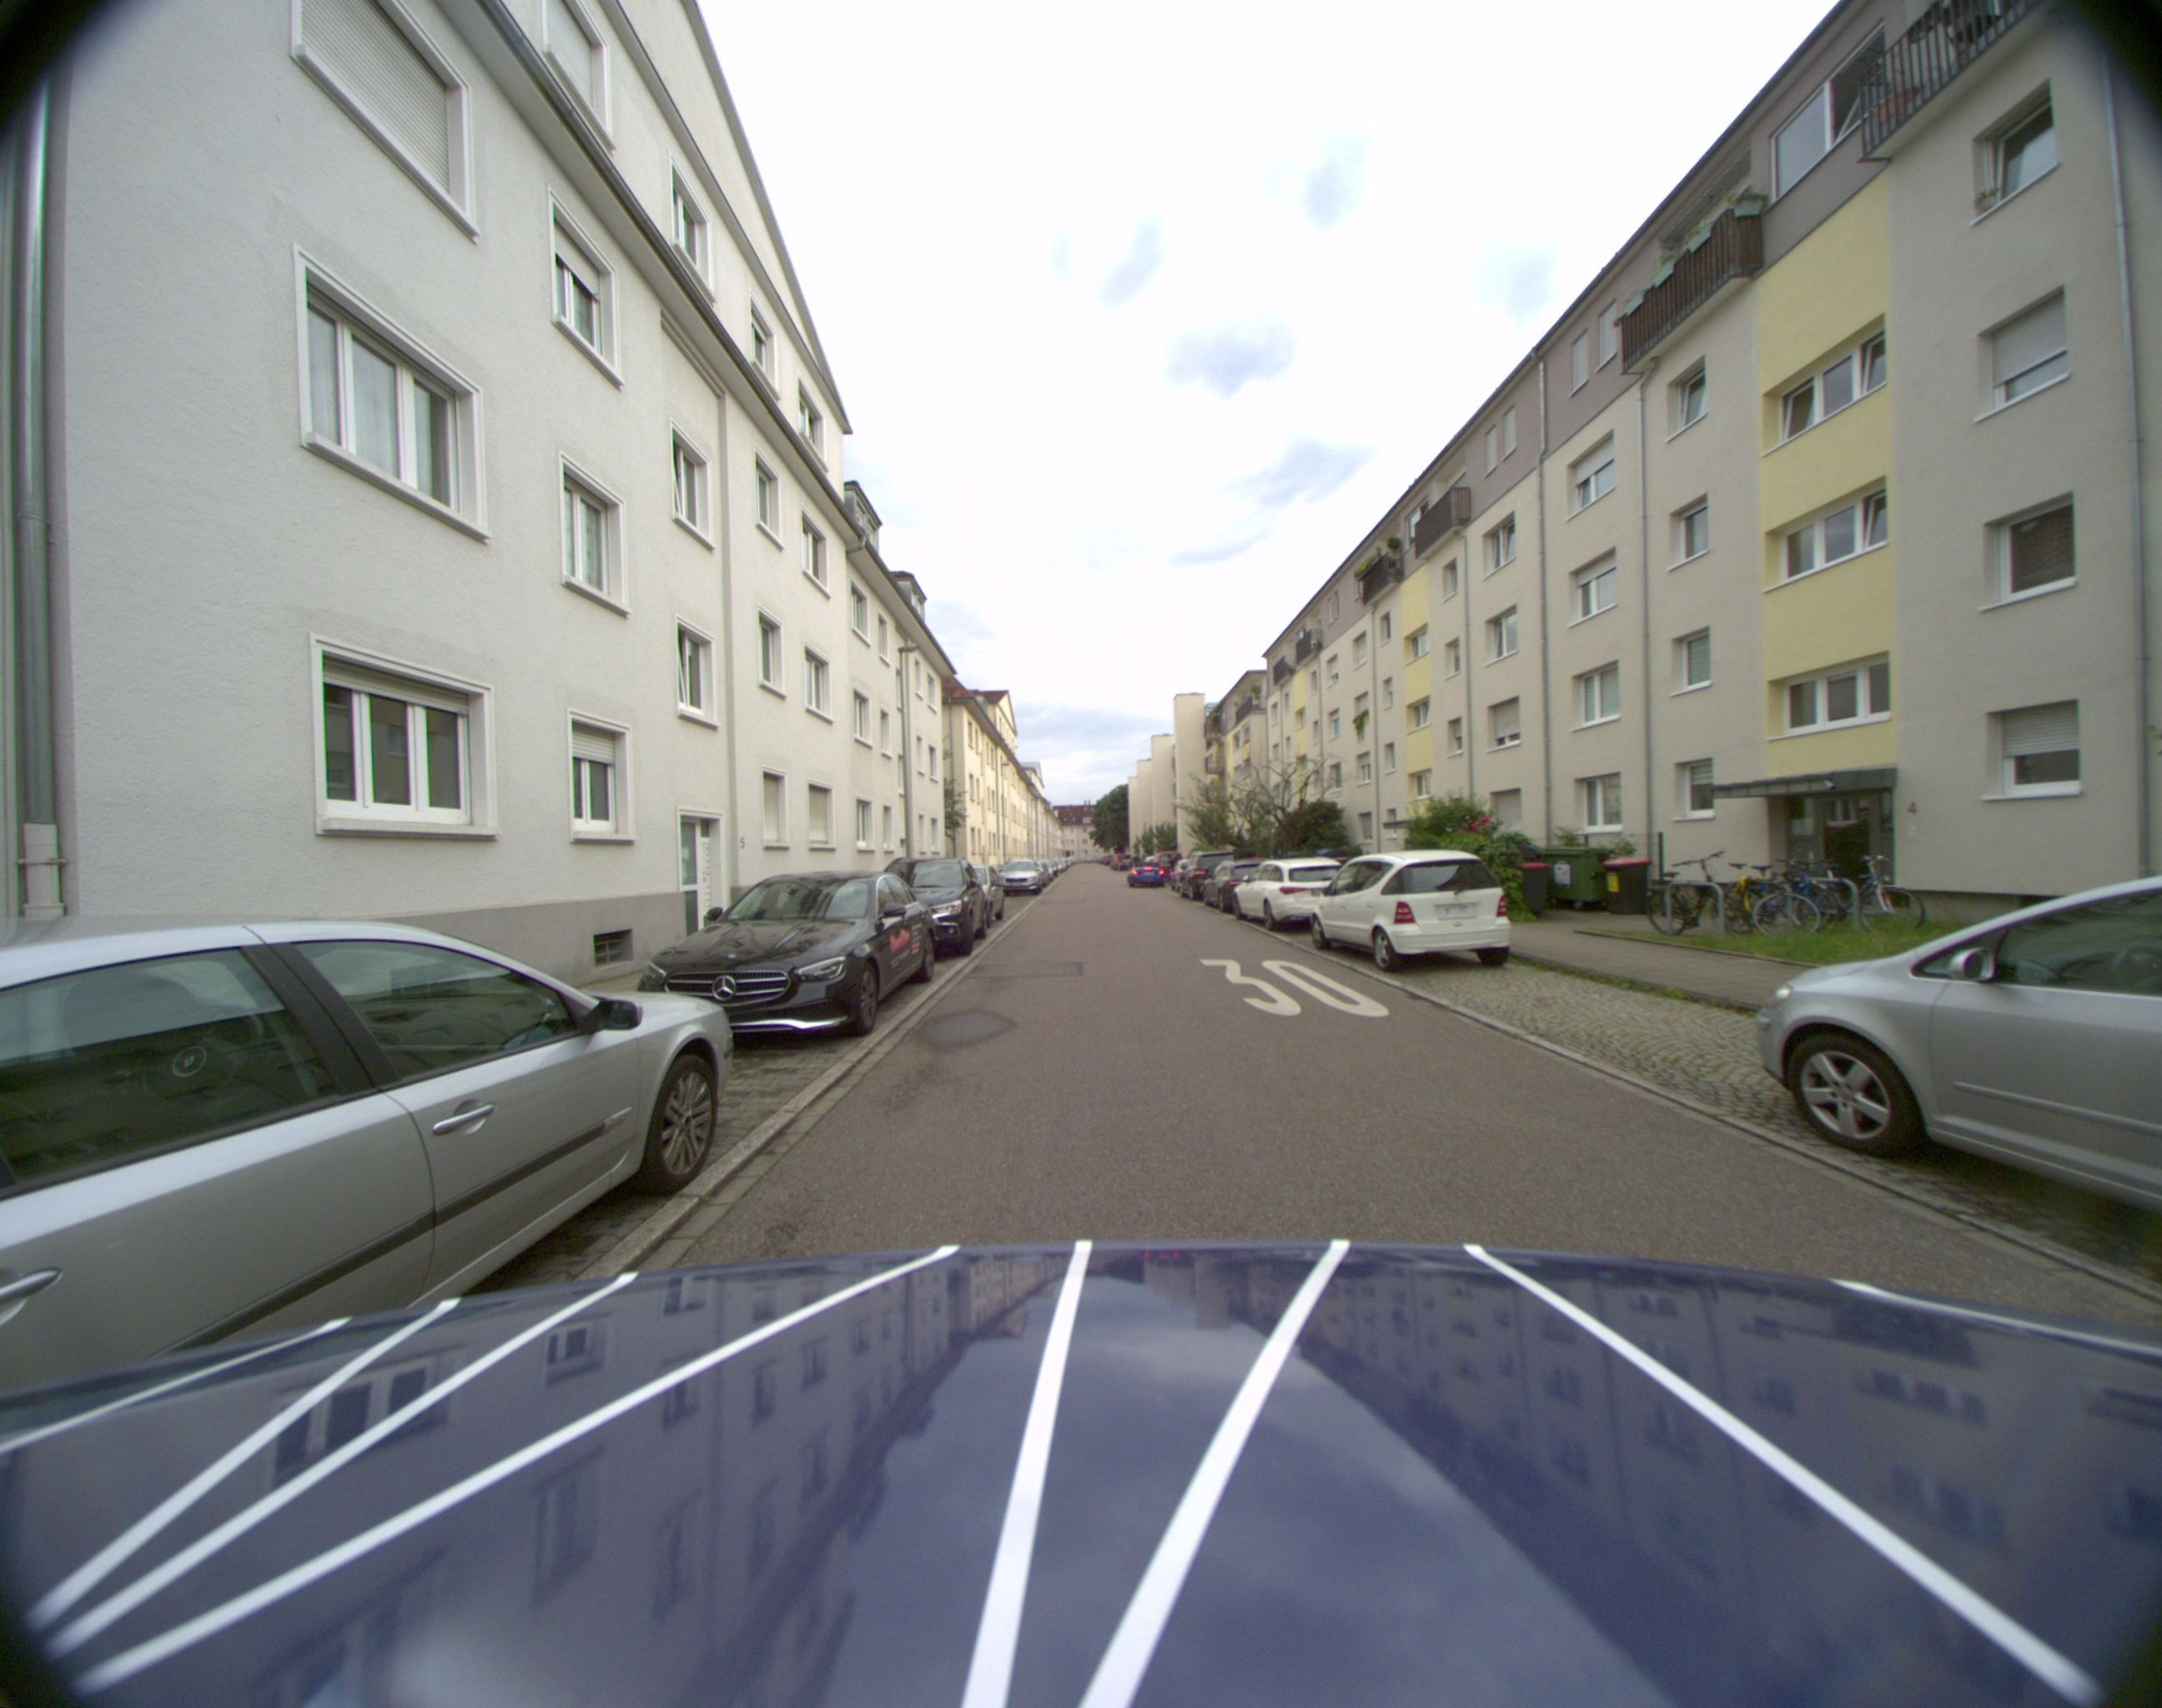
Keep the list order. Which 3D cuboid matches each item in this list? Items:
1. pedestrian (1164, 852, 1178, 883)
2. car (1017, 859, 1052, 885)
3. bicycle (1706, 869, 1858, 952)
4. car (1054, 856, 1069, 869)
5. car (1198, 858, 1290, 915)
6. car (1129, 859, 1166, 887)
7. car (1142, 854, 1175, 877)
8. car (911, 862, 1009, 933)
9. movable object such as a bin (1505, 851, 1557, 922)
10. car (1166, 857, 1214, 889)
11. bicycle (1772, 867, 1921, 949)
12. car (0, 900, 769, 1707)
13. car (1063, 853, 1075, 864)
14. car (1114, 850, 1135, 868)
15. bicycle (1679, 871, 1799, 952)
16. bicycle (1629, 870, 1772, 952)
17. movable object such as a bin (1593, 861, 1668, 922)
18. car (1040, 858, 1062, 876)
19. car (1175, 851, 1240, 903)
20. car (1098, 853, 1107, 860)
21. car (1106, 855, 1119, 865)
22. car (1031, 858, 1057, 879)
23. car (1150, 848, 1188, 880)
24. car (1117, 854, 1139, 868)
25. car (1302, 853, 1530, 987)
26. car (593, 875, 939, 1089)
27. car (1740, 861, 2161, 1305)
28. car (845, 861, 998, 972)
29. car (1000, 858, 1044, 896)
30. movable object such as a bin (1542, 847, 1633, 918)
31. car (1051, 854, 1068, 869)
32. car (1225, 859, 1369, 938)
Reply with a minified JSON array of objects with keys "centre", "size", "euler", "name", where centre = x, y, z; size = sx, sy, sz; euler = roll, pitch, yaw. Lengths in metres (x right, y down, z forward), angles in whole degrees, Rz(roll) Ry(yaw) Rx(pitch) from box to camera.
[{"centre":[4.811,0.719,40.796],"size":[0.603,1.657,0.622],"euler":[-2,0,-2],"name":"pedestrian"},{"centre":[-2.598,0.985,43.132],"size":[1.737,1.418,4.217],"euler":[-1,0,0],"name":"car"},{"centre":[9.686,0.745,10.594],"size":[0.479,1.018,1.755],"euler":[-2,0,0],"name":"bicycle"},{"centre":[-2.372,0.985,91.052],"size":[1.737,1.443,4.217],"euler":[-1,0,-1],"name":"car"},{"centre":[4.651,0.872,22.288],"size":[1.729,1.445,4.483],"euler":[-1,0,0],"name":"car"},{"centre":[3.468,0.984,40.345],"size":[1.679,1.307,3.908],"euler":[-2,1,1],"name":"car"},{"centre":[5.250,0.765,51.869],"size":[1.707,1.436,3.542],"euler":[-2,-1,-2],"name":"car"},{"centre":[-2.818,0.966,18.437],"size":[1.737,1.478,3.756],"euler":[-1,0,0],"name":"car"},{"centre":[9.065,0.638,15.323],"size":[0.659,1.360,0.587],"euler":[-2,2,-4],"name":"movable object such as a bin"},{"centre":[4.976,0.849,35.128],"size":[1.575,1.388,3.542],"euler":[-2,-1,-2],"name":"car"},{"centre":[10.572,0.711,10.565],"size":[0.421,1.018,1.559],"euler":[-2,0,-3],"name":"bicycle"},{"centre":[-2.702,1.008,2.291],"size":[1.737,1.454,4.430],"euler":[-1,0,-1],"name":"car"},{"centre":[-1.877,0.749,120.084],"size":[1.737,1.670,3.591],"euler":[-1,0,-1],"name":"car"},{"centre":[5.236,0.587,92.074],"size":[2.188,2.019,4.422],"euler":[-2,0,-2],"name":"car"},{"centre":[9.190,0.765,10.679],"size":[0.357,1.018,1.497],"euler":[-2,0,0],"name":"bicycle"},{"centre":[8.710,0.760,10.785],"size":[0.489,1.018,1.878],"euler":[-2,0,0],"name":"bicycle"},{"centre":[10.658,0.717,14.764],"size":[0.871,1.103,0.787],"euler":[-2,2,-4],"name":"movable object such as a bin"},{"centre":[-2.427,1.021,62.084],"size":[1.737,1.363,4.217],"euler":[-1,0,-1],"name":"car"},{"centre":[4.618,0.816,28.318],"size":[1.575,1.769,4.452],"euler":[-2,-1,-1],"name":"car"},{"centre":[5.025,0.683,180.249],"size":[1.745,1.534,3.636],"euler":[-2,0,-6],"name":"car"},{"centre":[5.446,1.020,131.225],"size":[1.745,1.534,3.636],"euler":[-2,0,-6],"name":"car"},{"centre":[-2.612,1.003,54.375],"size":[1.737,1.402,4.217],"euler":[-1,0,-1],"name":"car"},{"centre":[5.250,0.601,45.681],"size":[1.707,1.795,3.542],"euler":[-2,0,-2],"name":"car"},{"centre":[5.263,0.815,85.839],"size":[2.013,1.436,4.197],"euler":[-2,-1,-2],"name":"car"},{"centre":[4.740,0.835,11.368],"size":[1.689,1.629,3.727],"euler":[-2,0,-1],"name":"car"},{"centre":[-2.728,1.002,7.783],"size":[1.786,1.454,4.322],"euler":[-1,0,-1],"name":"car"},{"centre":[4.741,0.838,2.493],"size":[1.658,1.541,3.915],"euler":[-2,0,-1],"name":"car"},{"centre":[-2.601,0.944,13.377],"size":[1.853,1.589,4.159],"euler":[-1,0,-1],"name":"car"},{"centre":[-2.621,0.993,34.218],"size":[1.737,1.538,3.677],"euler":[-1,0,-1],"name":"car"},{"centre":[10.521,0.572,15.830],"size":[1.059,1.367,1.188],"euler":[-2,2,-5],"name":"movable object such as a bin"},{"centre":[-2.274,0.796,81.263],"size":[1.737,1.443,4.217],"euler":[-1,0,-1],"name":"car"},{"centre":[4.643,0.888,17.106],"size":[1.723,1.501,4.687],"euler":[-2,-1,-2],"name":"car"}]
